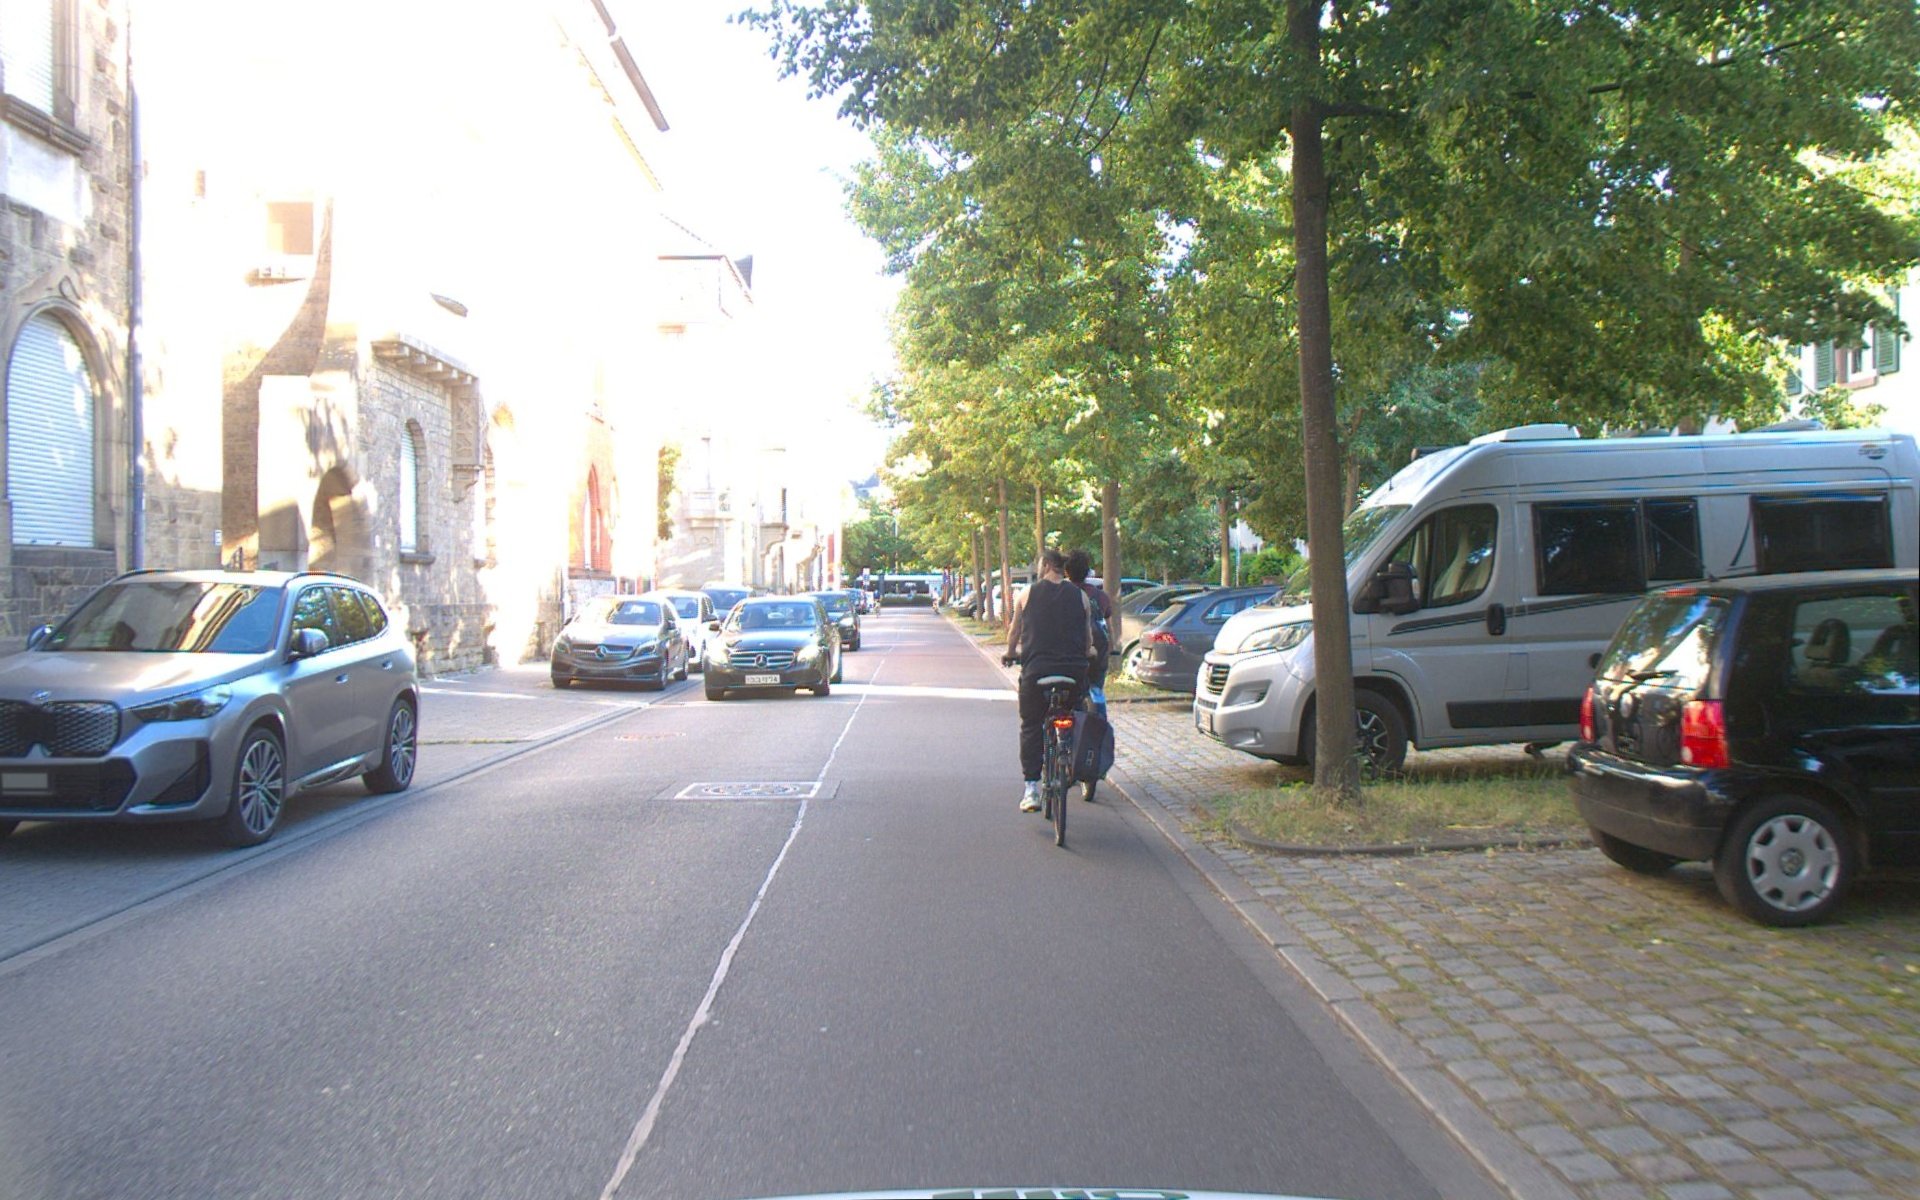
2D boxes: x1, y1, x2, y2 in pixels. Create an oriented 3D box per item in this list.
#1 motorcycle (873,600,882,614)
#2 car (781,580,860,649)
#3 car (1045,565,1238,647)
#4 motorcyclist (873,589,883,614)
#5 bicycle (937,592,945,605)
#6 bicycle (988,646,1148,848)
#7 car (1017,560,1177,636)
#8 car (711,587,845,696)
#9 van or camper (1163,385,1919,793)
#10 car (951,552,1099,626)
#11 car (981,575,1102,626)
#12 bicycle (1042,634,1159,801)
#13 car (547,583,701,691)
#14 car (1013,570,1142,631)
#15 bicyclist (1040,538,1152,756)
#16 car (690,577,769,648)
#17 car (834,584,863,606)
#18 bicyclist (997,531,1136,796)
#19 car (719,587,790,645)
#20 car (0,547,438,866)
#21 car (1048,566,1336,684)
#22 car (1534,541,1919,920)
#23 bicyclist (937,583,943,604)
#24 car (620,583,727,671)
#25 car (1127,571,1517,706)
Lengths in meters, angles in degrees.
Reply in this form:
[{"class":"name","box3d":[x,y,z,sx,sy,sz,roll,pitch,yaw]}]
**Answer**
[{"class":"motorcycle","box3d":[-4.956,0.404,99.390,0.540,0.815,1.307,-1,1,-4]},{"class":"car","box3d":[-3.620,0.371,43.391,1.731,1.627,4.088,-3,0,-2]},{"class":"car","box3d":[4.112,0.146,37.935,4.157,1.676,1.854,-2,-1,-1]},{"class":"motorcyclist","box3d":[-4.925,0.099,99.394,0.540,1.473,0.687,-1,0,-4]},{"class":"bicycle","box3d":[-1.261,-0.101,108.489,0.530,0.842,1.918,-1,-1,-1]},{"class":"bicycle","box3d":[0.629,0.854,10.327,0.682,1.091,1.966,-1,-1,-5]},{"class":"car","box3d":[3.704,-0.055,45.337,4.157,1.872,1.854,-2,-1,-1]},{"class":"car","box3d":[-2.716,0.605,25.456,1.859,1.512,4.377,-1,-1,-4]},{"class":"van or camper","box3d":[4.535,-0.099,12.758,5.464,2.580,2.267,-3,-1,-3]},{"class":"car","box3d":[3.210,-0.542,82.660,7.183,3.339,2.223,-2,-1,-1]},{"class":"car","box3d":[3.210,0.044,65.947,4.660,1.811,1.854,-2,-1,-1]},{"class":"bicycle","box3d":[1.019,0.829,12.403,0.544,1.091,1.967,-1,0,-5]},{"class":"car","box3d":[-5.427,0.569,27.212,1.719,1.544,4.113,3,0,-2]},{"class":"car","box3d":[3.932,0.021,55.816,4.157,1.828,1.854,-2,-1,-1]},{"class":"bicyclist","box3d":[1.002,0.338,12.360,0.704,1.553,0.971,-1,-1,-2]},{"class":"car","box3d":[-5.821,0.320,42.090,1.598,1.694,3.966,-1,-1,-3]},{"class":"car","box3d":[-8.198,-0.363,122.175,1.953,1.557,3.999,-1,-1,-1]},{"class":"bicyclist","box3d":[0.642,0.376,10.234,0.692,1.553,0.971,-1,-1,-6]},{"class":"car","box3d":[-5.866,0.440,47.554,1.583,1.508,4.017,3,0,-1]},{"class":"car","box3d":[-5.020,0.585,10.846,2.009,1.650,4.392,-1,-1,-3]},{"class":"car","box3d":[3.591,0.385,26.037,4.160,1.634,1.752,-2,-1,-5]},{"class":"car","box3d":[4.699,0.486,7.640,3.431,1.498,1.750,-2,-1,-3]},{"class":"bicyclist","box3d":[-1.299,-0.443,108.546,0.408,1.374,0.430,-1,-1,-2]},{"class":"car","box3d":[-5.580,0.507,32.584,1.461,1.544,3.774,3,0,-1]},{"class":"car","box3d":[4.379,0.454,20.481,4.410,1.478,1.816,-2,0,0]}]
